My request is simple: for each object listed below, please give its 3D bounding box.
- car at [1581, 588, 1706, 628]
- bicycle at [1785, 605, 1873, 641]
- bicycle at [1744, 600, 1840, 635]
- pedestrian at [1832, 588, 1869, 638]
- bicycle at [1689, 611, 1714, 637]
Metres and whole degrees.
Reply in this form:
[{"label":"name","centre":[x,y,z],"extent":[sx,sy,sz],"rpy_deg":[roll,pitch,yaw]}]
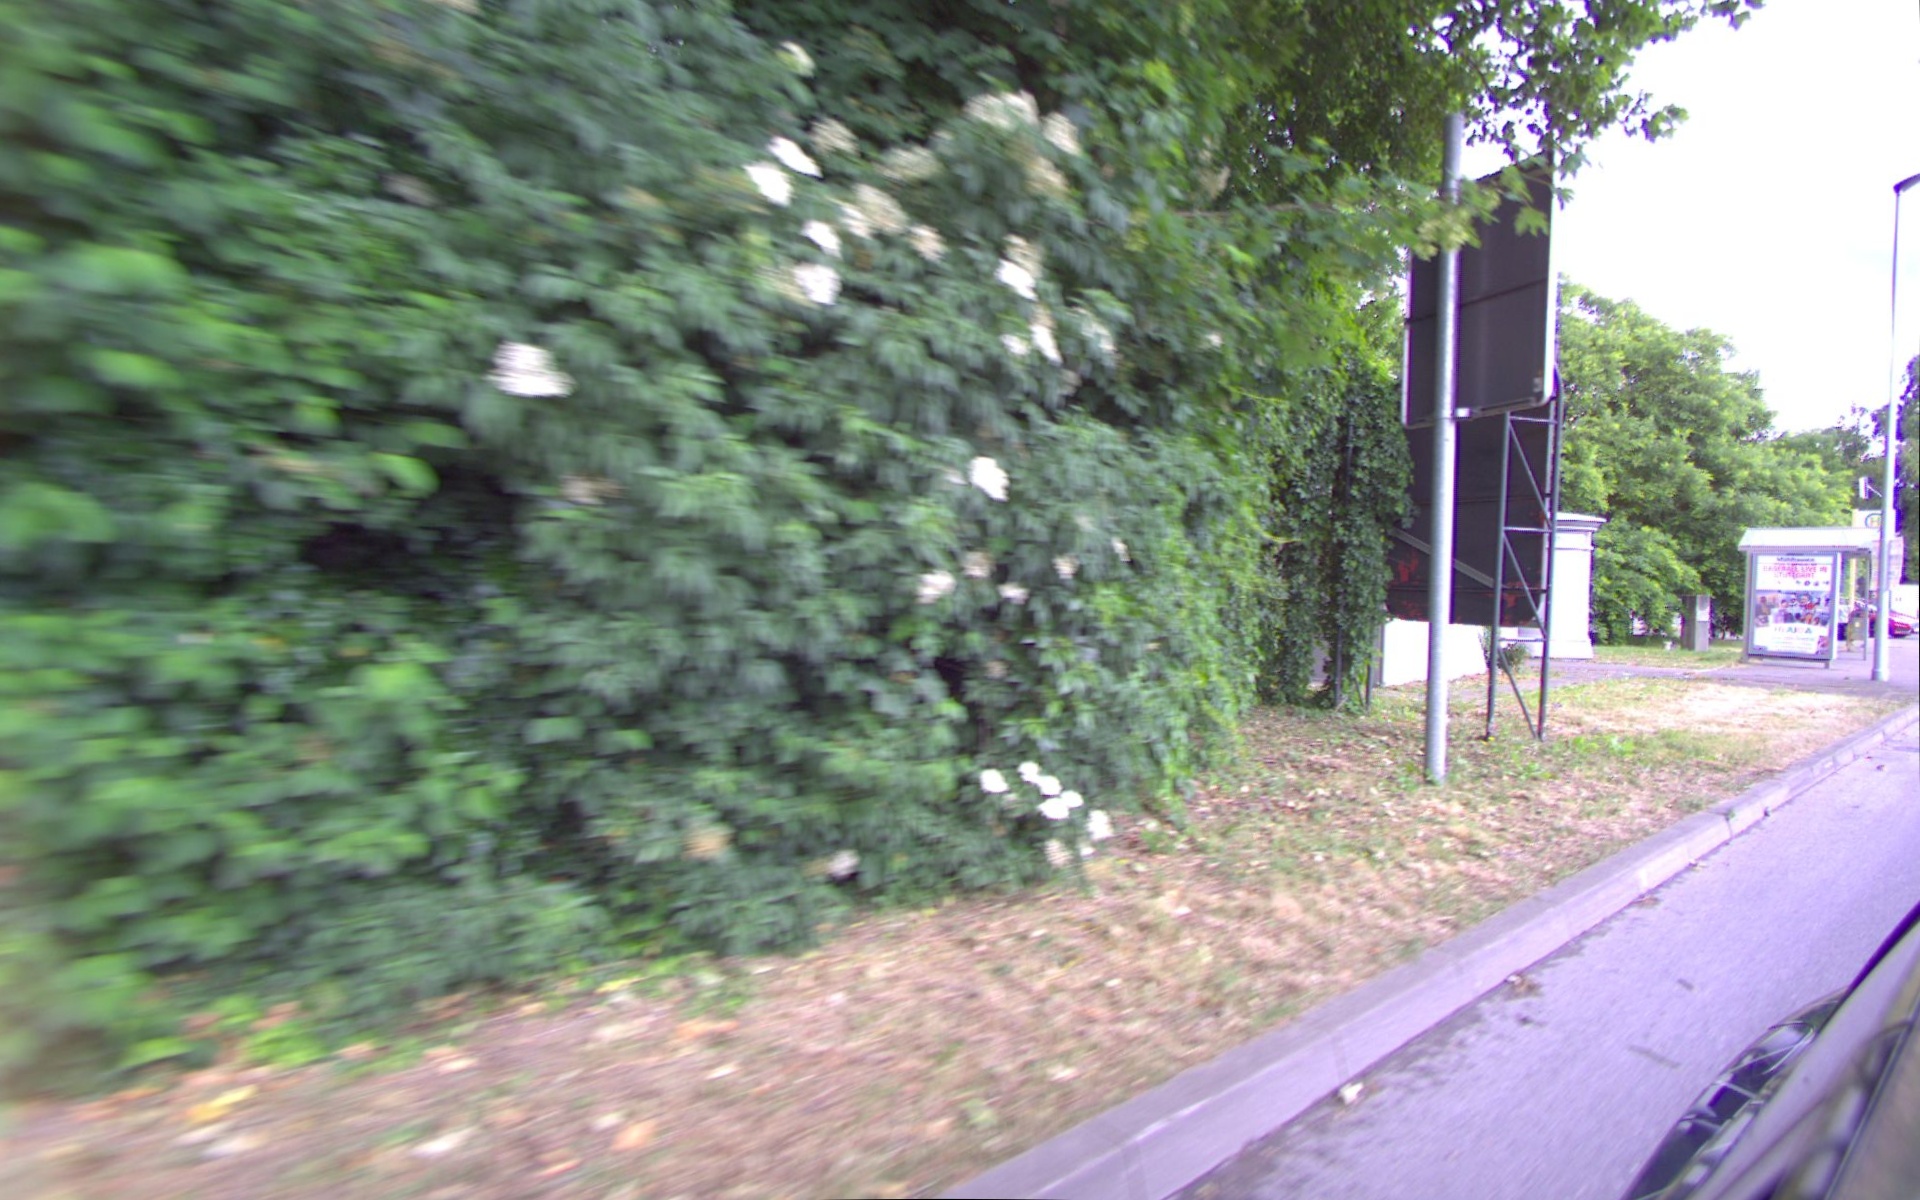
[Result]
[{"label":"car","centre":[30.943,0.342,45.997],"extent":[4.469,1.637,1.878],"rpy_deg":[2,1,29]},{"label":"bicycle","centre":[25.205,0.642,29.381],"extent":[0.535,0.936,1.871],"rpy_deg":[0,2,-39]},{"label":"bicycle","centre":[23.653,0.483,28.819],"extent":[0.579,0.951,2.048],"rpy_deg":[1,0,-26]},{"label":"pedestrian","centre":[28.421,0.403,32.306],"extent":[0.659,1.532,0.755],"rpy_deg":[0,3,-41]},{"label":"bicycle","centre":[24.300,0.770,33.156],"extent":[0.476,0.818,1.490],"rpy_deg":[1,0,44]}]
